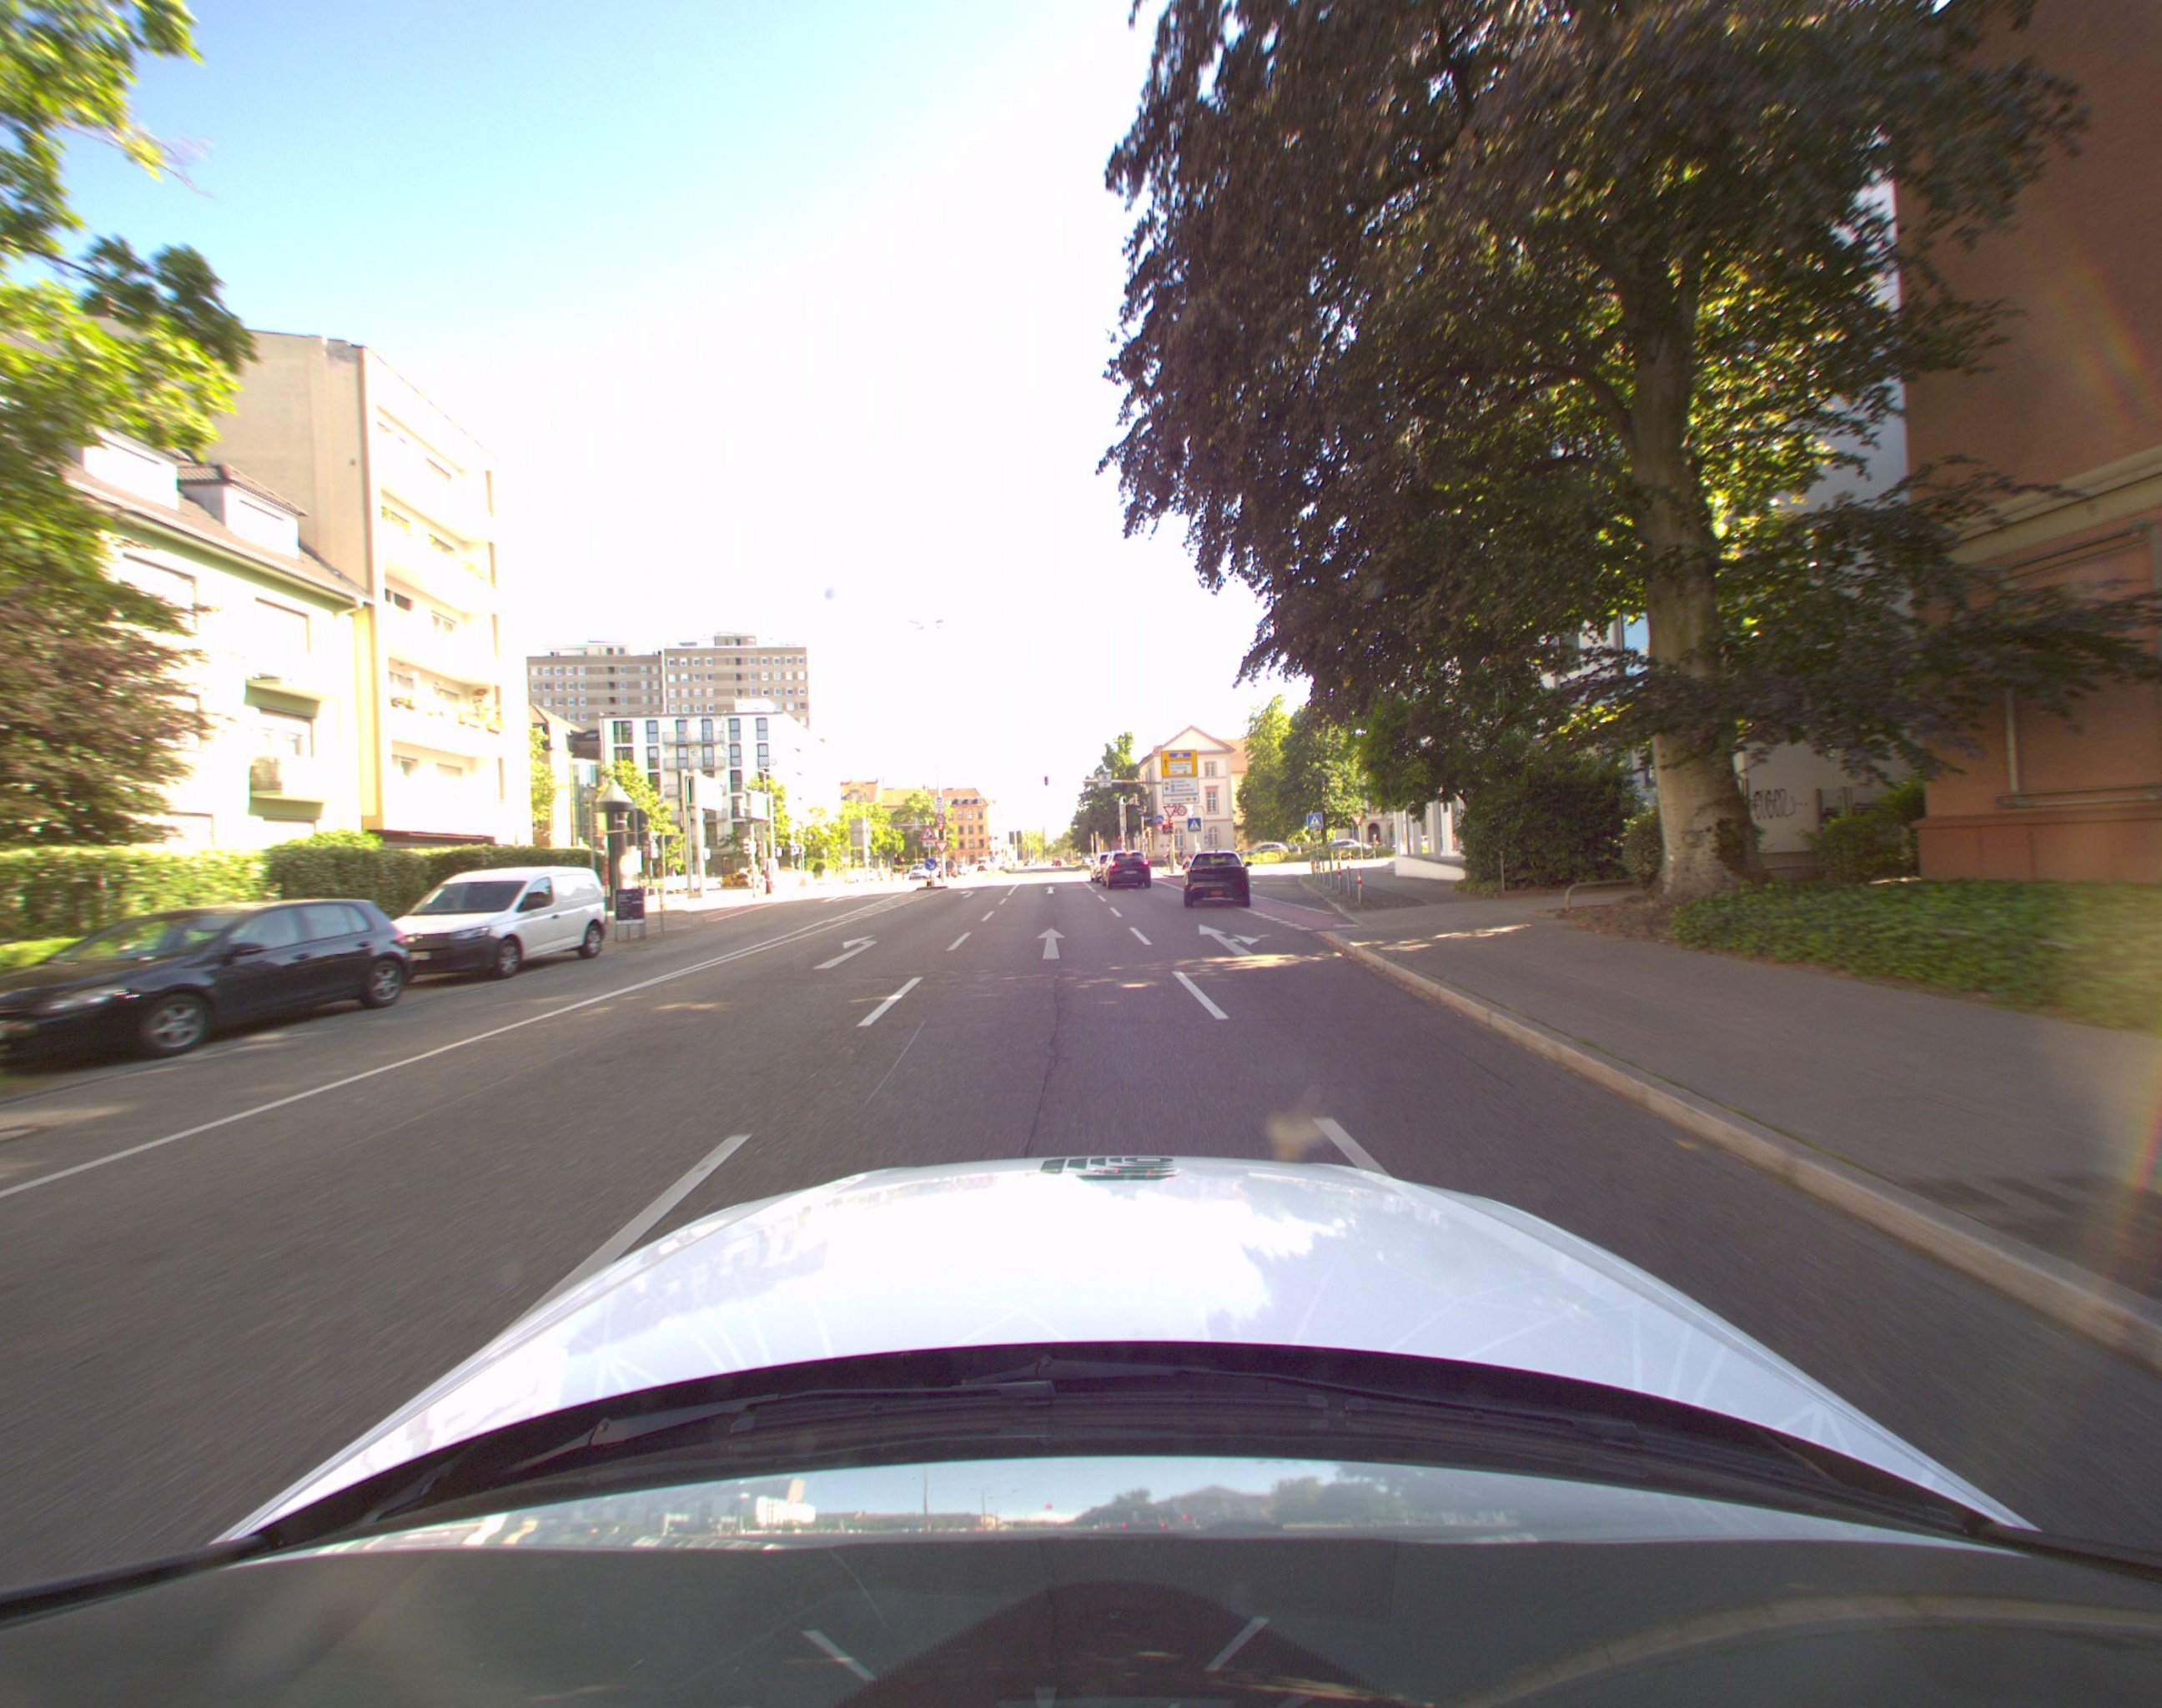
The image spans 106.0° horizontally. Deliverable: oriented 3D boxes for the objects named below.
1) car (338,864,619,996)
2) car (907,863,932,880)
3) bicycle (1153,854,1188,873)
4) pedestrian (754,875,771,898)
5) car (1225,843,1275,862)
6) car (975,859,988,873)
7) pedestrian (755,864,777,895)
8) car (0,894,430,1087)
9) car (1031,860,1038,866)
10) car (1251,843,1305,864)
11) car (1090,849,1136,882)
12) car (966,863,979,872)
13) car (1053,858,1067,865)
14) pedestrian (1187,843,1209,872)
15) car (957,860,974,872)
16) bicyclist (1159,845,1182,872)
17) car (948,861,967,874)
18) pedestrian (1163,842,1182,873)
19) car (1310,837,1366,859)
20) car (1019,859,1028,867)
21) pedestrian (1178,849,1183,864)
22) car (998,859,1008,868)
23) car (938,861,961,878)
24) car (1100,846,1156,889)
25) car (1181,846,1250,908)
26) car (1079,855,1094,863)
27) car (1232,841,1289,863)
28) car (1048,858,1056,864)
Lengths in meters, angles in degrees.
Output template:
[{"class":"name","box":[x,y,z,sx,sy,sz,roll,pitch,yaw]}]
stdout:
[{"class":"car","box":[-10.248,1.153,14.401,1.816,1.834,4.553,-2,0,-5]},{"class":"car","box":[-16.808,1.787,84.883,1.871,1.617,3.995,-3,0,-3]},{"class":"bicycle","box":[5.418,0.564,49.295,2.037,1.061,0.618,-2,0,-19]},{"class":"pedestrian","box":[-17.026,1.717,43.566,0.667,1.166,0.669,-3,0,-37]},{"class":"car","box":[15.853,-0.135,76.390,4.115,1.601,1.816,-3,0,-10]},{"class":"car","box":[-17.228,2.066,141.353,1.806,2.134,3.995,-3,0,-3]},{"class":"pedestrian","box":[-17.278,1.386,44.628,0.668,1.649,0.837,-3,0,43]},{"class":"car","box":[-9.775,1.325,9.162,1.667,1.456,4.107,-3,0,-3]},{"class":"car","box":[-11.557,2.219,202.063,1.806,1.448,3.995,-3,0,-3]},{"class":"car","box":[16.996,-0.052,70.365,4.115,1.601,1.816,-3,0,-10]},{"class":"car","box":[1.492,0.532,39.812,1.826,1.452,3.983,-3,0,-3]},{"class":"car","box":[-19.590,2.428,147.101,1.871,1.448,3.995,-3,0,-3]},{"class":"car","box":[-4.571,1.711,178.992,1.796,1.407,4.019,-3,0,18]},{"class":"pedestrian","box":[6.827,0.203,47.704,1.040,1.659,0.782,-3,0,-7]},{"class":"car","box":[-15.470,1.644,108.908,1.871,1.448,3.995,-3,0,-3]},{"class":"bicyclist","box":[5.403,0.267,49.276,1.168,1.633,0.725,-2,0,-18]},{"class":"car","box":[-15.064,1.689,99.824,1.871,1.448,3.995,-3,0,-3]},{"class":"pedestrian","box":[5.279,0.202,46.865,0.825,1.702,0.915,-2,0,-9]},{"class":"car","box":[21.387,-0.487,67.795,3.984,1.644,1.918,-3,0,-8]},{"class":"car","box":[-12.730,2.048,180.854,1.806,1.634,3.995,-3,0,-3]},{"class":"pedestrian","box":[10.864,0.319,89.005,0.439,1.615,0.467,0,-1,3]},{"class":"car","box":[-15.445,1.923,160.908,1.806,1.634,3.995,-3,0,-3]},{"class":"car","box":[-13.415,1.566,83.298,1.787,1.617,3.996,-3,0,-3]},{"class":"car","box":[1.880,0.533,33.712,1.826,1.578,3.835,-3,0,-3]},{"class":"car","box":[3.794,0.600,23.047,1.735,1.573,3.567,-2,0,9]},{"class":"car","box":[1.263,1.139,193.545,2.157,1.698,4.021,-3,0,20]},{"class":"car","box":[14.660,-0.173,66.429,4.115,1.601,1.816,-3,0,-10]},{"class":"car","box":[-7.757,1.981,217.873,1.806,1.448,3.995,-3,0,-3]}]
